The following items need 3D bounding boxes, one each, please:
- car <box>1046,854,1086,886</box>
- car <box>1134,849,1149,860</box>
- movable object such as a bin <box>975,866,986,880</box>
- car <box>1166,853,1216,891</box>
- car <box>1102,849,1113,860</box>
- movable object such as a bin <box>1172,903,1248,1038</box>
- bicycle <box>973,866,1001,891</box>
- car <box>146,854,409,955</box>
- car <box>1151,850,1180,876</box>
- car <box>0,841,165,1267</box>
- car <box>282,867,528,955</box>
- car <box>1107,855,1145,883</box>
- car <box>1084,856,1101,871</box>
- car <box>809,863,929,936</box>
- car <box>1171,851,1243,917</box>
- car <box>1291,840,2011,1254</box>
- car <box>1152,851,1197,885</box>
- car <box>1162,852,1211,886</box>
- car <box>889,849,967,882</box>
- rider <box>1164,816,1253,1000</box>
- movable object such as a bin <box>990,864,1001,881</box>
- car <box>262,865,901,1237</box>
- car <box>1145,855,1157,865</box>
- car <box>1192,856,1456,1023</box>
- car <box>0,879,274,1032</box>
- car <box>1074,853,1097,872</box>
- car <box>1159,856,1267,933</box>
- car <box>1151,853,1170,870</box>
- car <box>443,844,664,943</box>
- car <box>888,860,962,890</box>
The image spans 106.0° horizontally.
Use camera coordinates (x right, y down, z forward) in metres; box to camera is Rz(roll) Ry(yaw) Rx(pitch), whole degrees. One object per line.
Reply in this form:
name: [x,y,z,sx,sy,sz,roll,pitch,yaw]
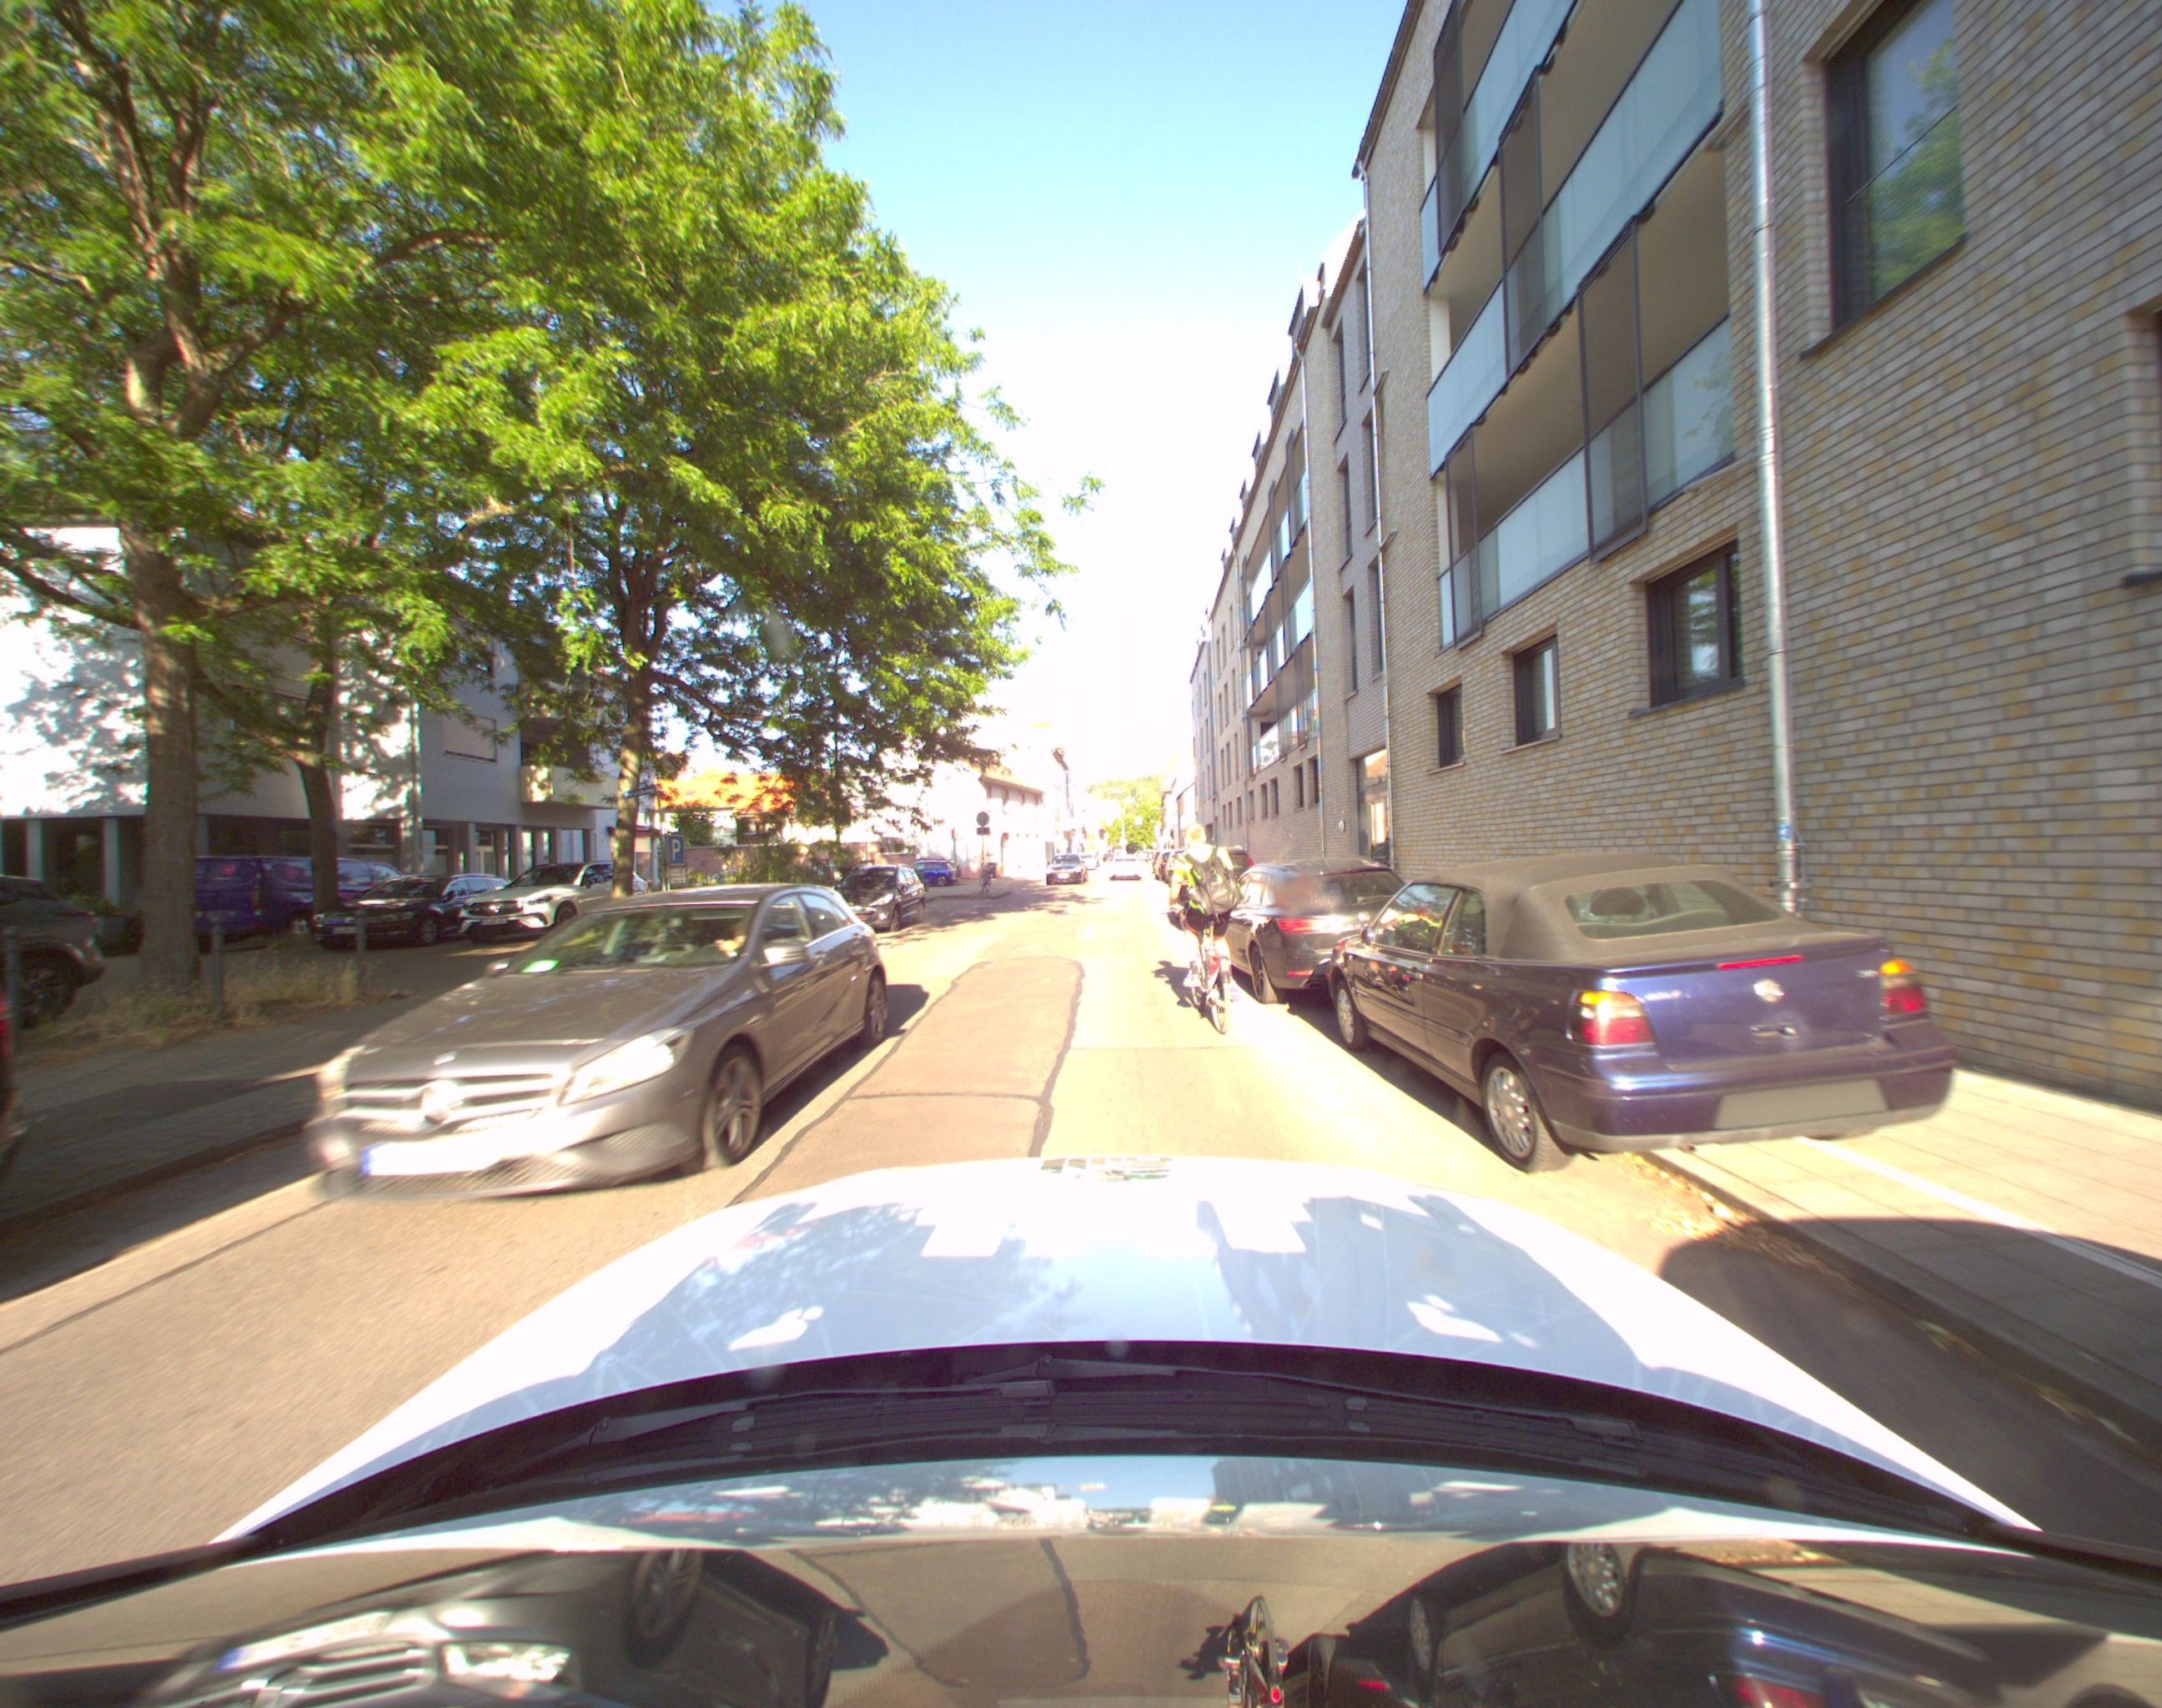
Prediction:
car: [-0.753,0.829,43.216,1.932,1.576,4.319,-2,0,1]
car: [8.454,0.102,113.685,1.985,1.466,4.004,-2,0,4]
movable object such as a bin: [-6.561,1.264,53.315,0.596,0.872,0.606,-3,0,1]
car: [4.657,0.722,34.912,1.705,1.404,4.076,-5,0,3]
car: [4.904,0.127,151.686,1.986,2.013,4.002,-1,0,2]
movable object such as a bin: [1.168,1.016,7.645,0.453,1.033,1.841,1,-1,2]
bicycle: [-3.959,1.032,34.412,0.700,1.003,1.945,-1,0,7]
car: [-17.624,1.004,18.241,2.017,1.948,4.310,-1,0,-9]
car: [5.941,0.575,57.839,1.846,1.636,4.628,-4,0,4]
car: [-5.326,0.773,1.258,1.924,1.705,5.102,1,0,1]
car: [-14.202,1.122,17.457,2.068,1.575,3.808,-1,0,-1]
car: [2.511,0.845,46.255,1.986,1.466,4.001,-2,0,2]
car: [1.292,1.042,91.982,1.724,1.499,3.961,-2,-3,3]
car: [-4.942,0.993,19.535,1.690,1.492,4.001,-2,0,2]
car: [3.703,0.796,24.271,1.879,1.712,4.784,-2,0,7]
car: [2.777,0.761,5.295,1.658,1.516,4.218,-3,0,0]
car: [5.081,0.727,44.942,1.986,1.653,4.764,-2,0,1]
car: [5.099,0.672,39.822,1.985,1.505,4.370,-2,0,3]
car: [-9.519,0.708,50.969,4.343,1.794,1.991,2,3,4]
rider: [1.152,0.475,7.535,0.651,1.562,1.083,1,-2,2]
movable object such as a bin: [-5.704,1.223,54.385,0.596,1.094,0.752,-1,0,4]
car: [-2.544,0.852,5.437,1.802,1.466,3.998,-2,0,-1]
car: [12.486,1.054,145.858,2.003,1.853,4.003,0,0,3]
car: [2.588,0.808,9.938,1.691,1.467,4.718,-3,0,-1]
car: [-11.155,1.044,8.574,1.514,1.408,3.642,-2,0,4]
car: [0.452,0.776,75.451,1.986,1.648,5.222,-1,0,1]
car: [2.833,0.816,18.310,1.809,1.466,4.271,-2,0,2]
car: [7.934,0.716,81.178,1.733,1.492,4.444,-3,0,5]
car: [-11.670,0.767,18.520,1.838,1.895,4.904,-1,0,-1]
car: [-9.029,1.215,47.232,3.751,1.530,2.002,-2,0,4]
